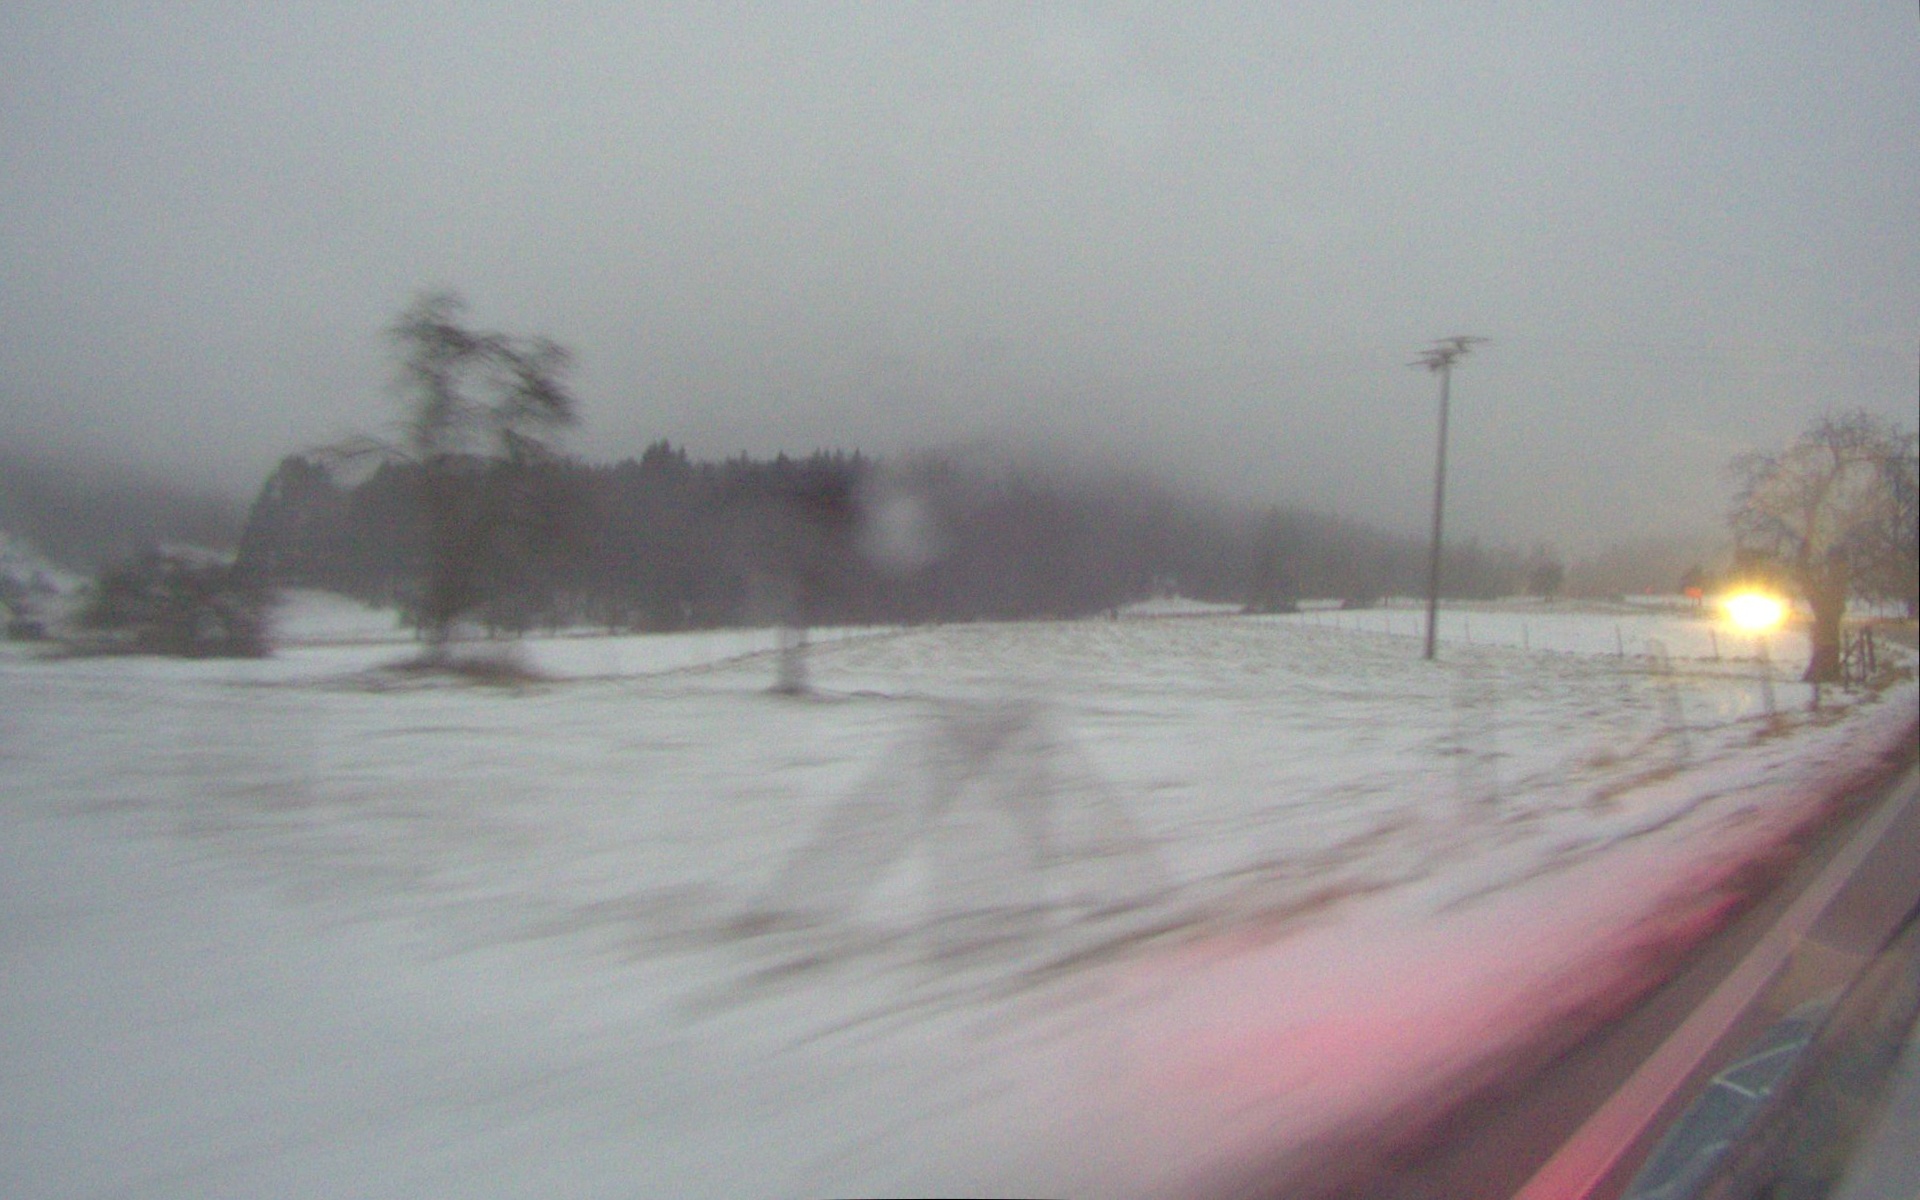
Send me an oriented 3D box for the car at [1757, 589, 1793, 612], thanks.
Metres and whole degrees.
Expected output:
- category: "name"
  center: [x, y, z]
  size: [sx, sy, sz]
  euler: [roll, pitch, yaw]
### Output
- category: "car"
  center: [76.765, 0.026, 95.407]
  size: [1.983, 2.039, 3.958]
  euler: [-2, 0, 30]
